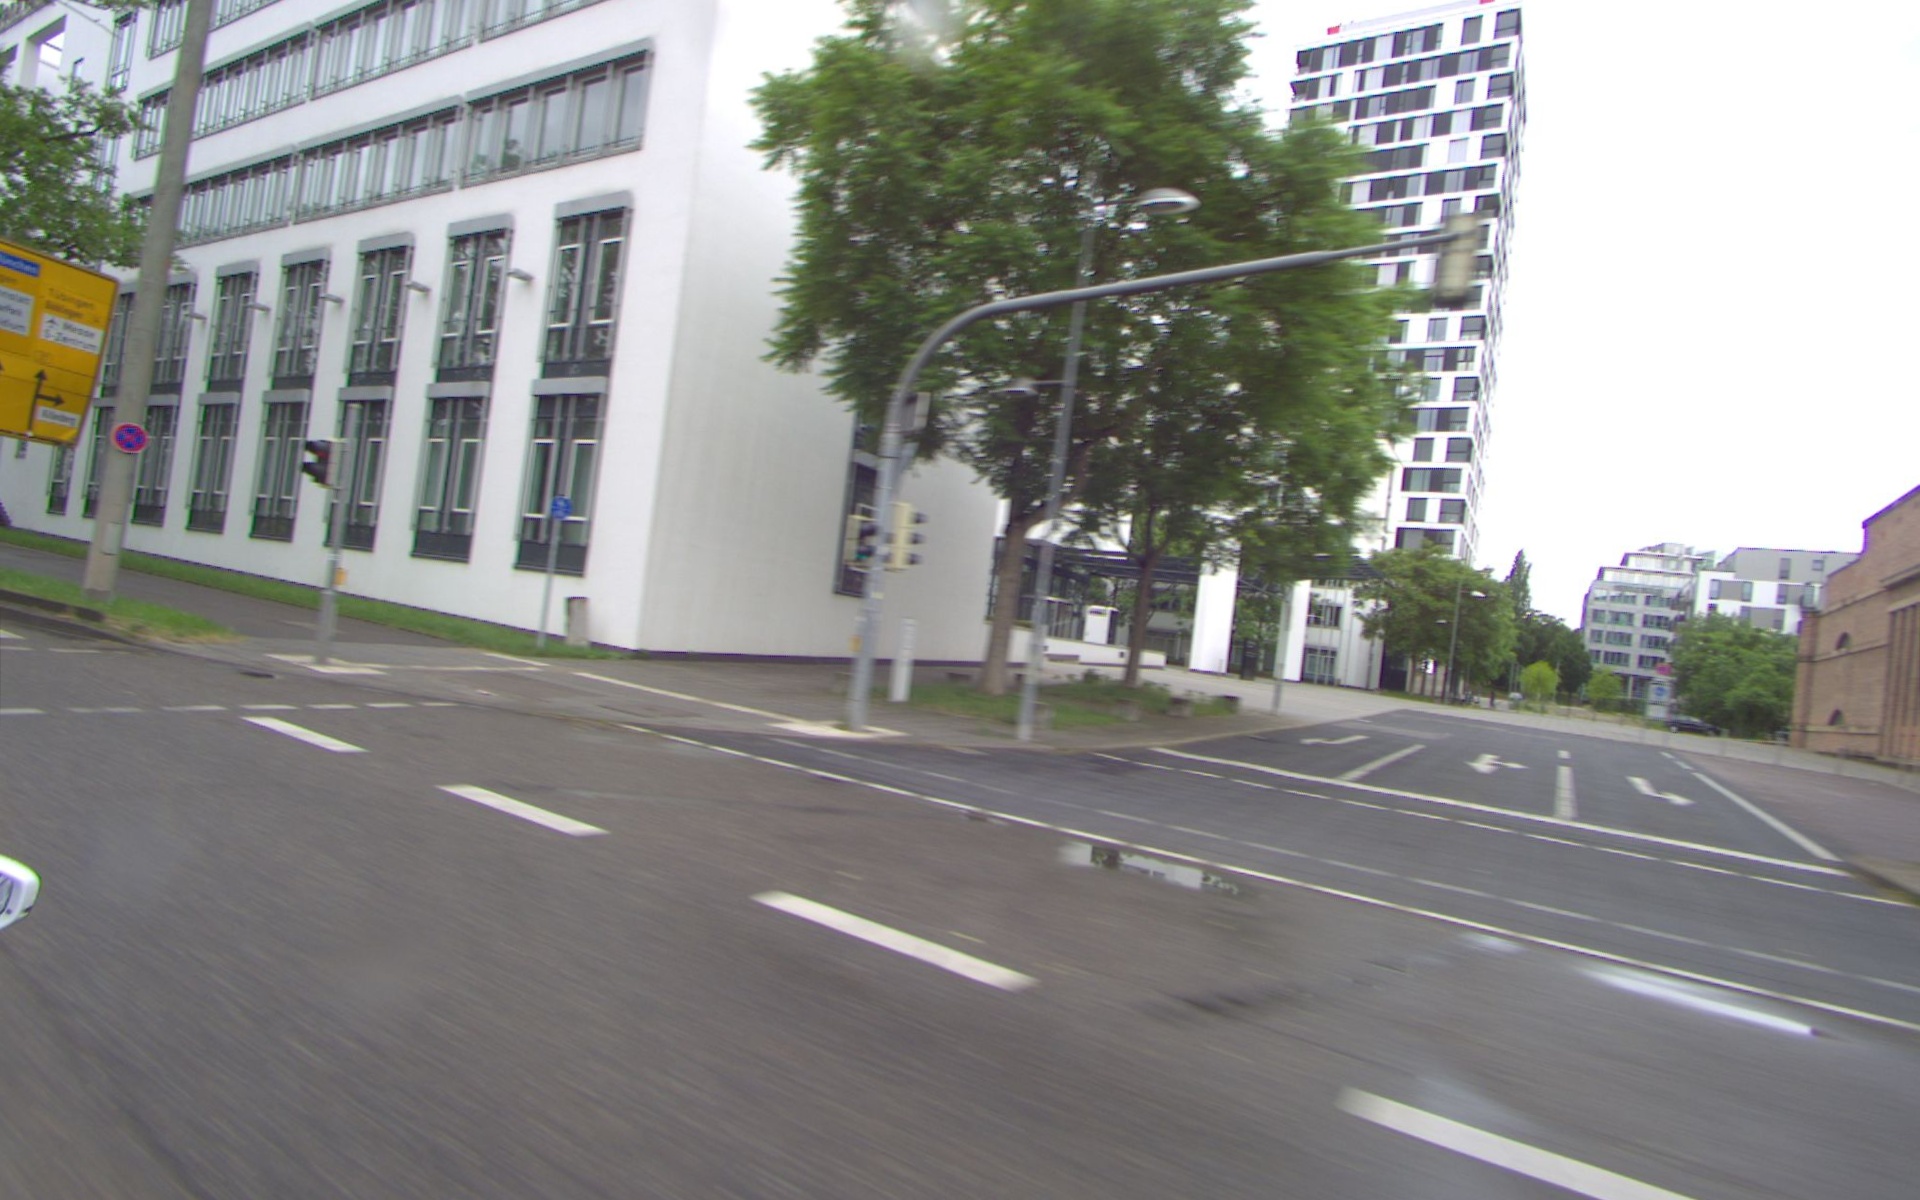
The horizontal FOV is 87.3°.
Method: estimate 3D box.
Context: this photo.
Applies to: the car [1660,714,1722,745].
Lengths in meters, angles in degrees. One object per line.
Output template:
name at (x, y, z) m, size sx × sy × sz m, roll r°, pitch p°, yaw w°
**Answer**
car at (60.882, 10.795, 83.890) m, size 3.937 × 2.036 × 1.997 m, roll 5°, pitch -3°, yaw 34°
